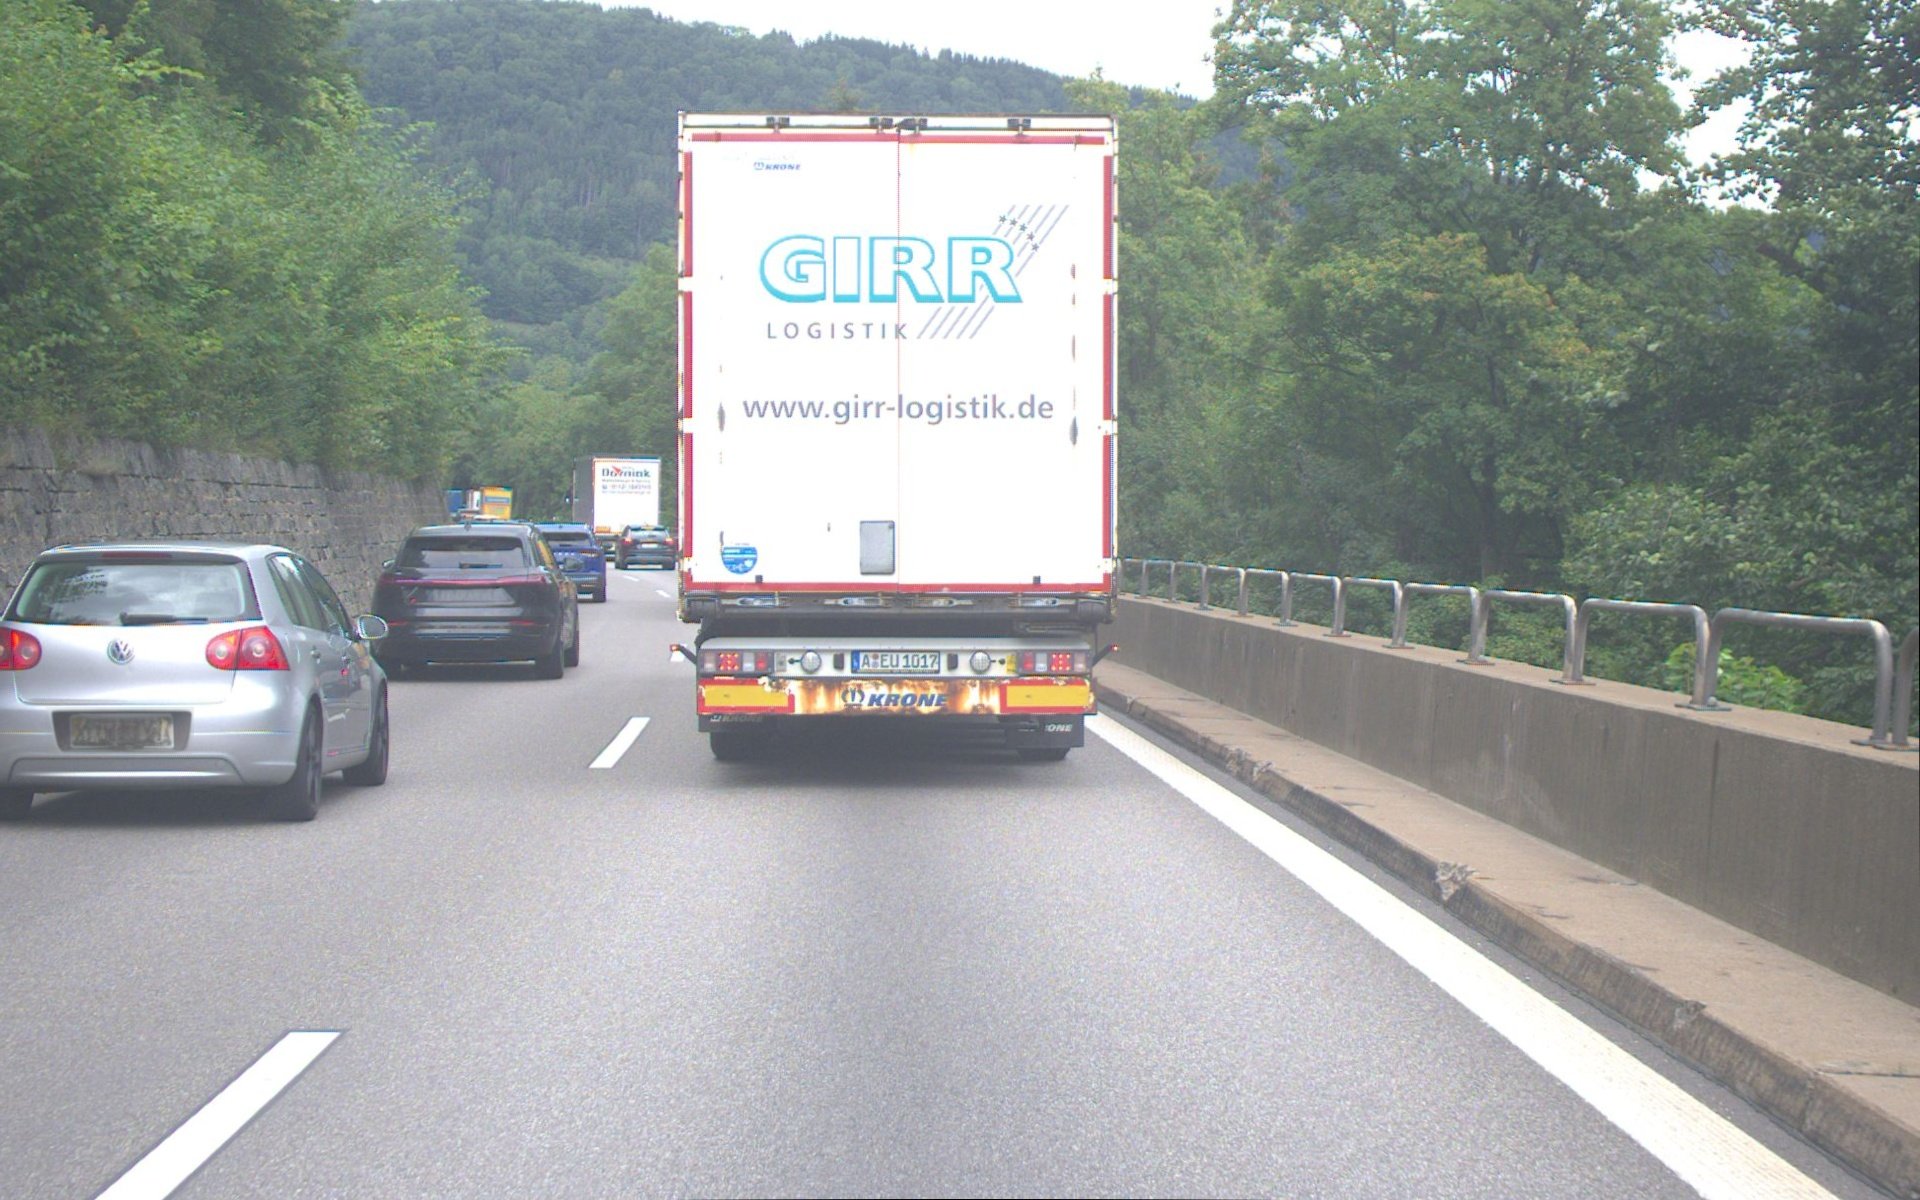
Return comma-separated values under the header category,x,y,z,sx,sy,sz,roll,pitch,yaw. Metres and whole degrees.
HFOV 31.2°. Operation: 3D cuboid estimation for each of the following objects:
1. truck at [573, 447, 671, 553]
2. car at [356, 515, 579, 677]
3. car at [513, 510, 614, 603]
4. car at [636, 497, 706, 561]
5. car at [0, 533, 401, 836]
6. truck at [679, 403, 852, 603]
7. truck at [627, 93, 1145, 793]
category,x,y,z,sx,sy,sz,roll,pitch,yaw
truck,-13.247,-3.806,133.896,3.510,3.834,11.779,1,0,-7
car,-5.101,-0.071,36.110,1.916,1.589,4.179,0,1,-3
car,-8.160,-0.919,71.002,1.993,1.842,4.001,1,1,-6
car,-9.436,-2.298,112.425,1.993,2.007,4.000,1,0,-1
car,-4.213,0.385,18.921,1.729,1.481,4.000,0,1,-2
truck,-3.858,-1.813,66.183,2.485,3.559,9.311,0,1,-8
truck,-0.519,-0.979,24.161,2.908,3.947,9.280,1,1,-1
